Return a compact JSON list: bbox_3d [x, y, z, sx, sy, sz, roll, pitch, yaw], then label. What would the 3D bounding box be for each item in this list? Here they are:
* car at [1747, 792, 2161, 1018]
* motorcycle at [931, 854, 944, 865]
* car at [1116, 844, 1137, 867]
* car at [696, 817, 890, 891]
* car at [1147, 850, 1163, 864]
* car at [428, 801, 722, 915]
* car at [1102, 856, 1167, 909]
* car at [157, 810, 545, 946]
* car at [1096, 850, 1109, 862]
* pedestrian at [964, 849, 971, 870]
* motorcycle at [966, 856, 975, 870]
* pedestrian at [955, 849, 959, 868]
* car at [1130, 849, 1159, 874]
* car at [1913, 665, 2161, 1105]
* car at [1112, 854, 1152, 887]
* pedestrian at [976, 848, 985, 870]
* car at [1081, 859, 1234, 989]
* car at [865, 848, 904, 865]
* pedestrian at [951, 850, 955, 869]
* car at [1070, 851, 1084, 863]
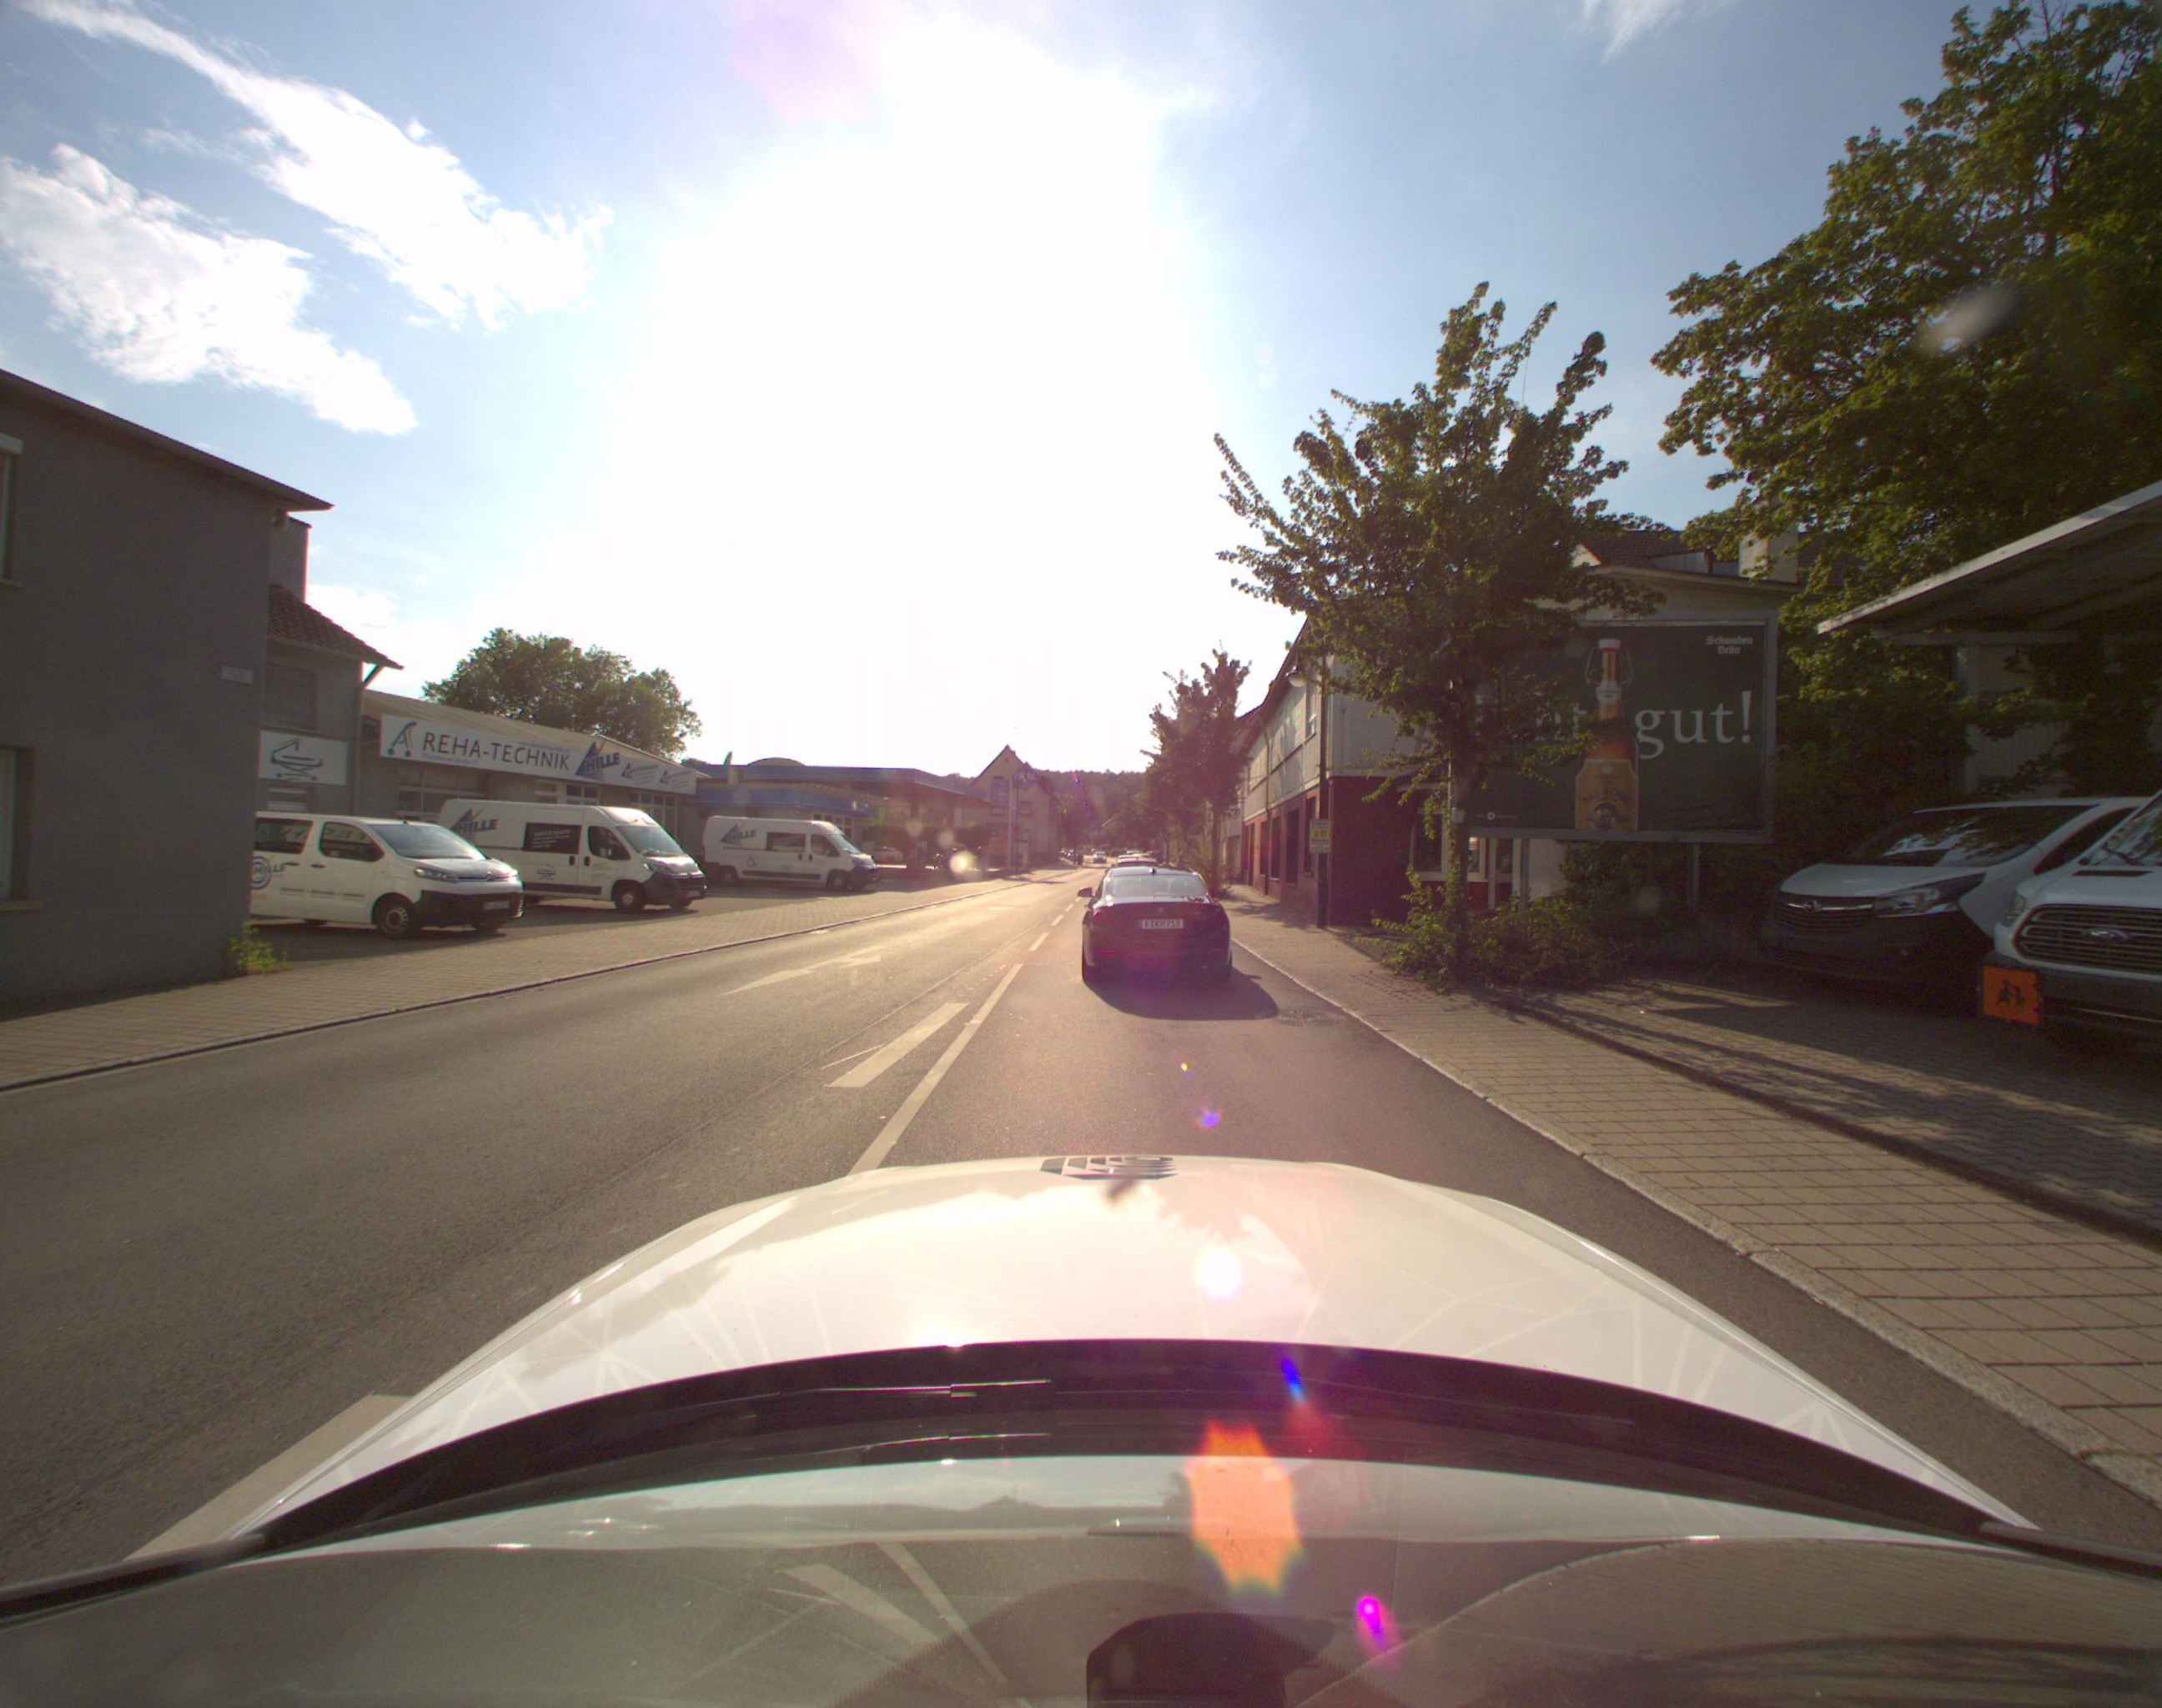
[{"bbox_3d":[8.671,0.425,7.646,3.588,1.894,1.586,0,0,-1],"label":"car"},{"bbox_3d":[-10.627,0.402,60.449,0.456,0.730,1.478,0,0,10],"label":"motorcycle"},{"bbox_3d":[3.656,0.116,65.056,1.595,1.767,3.416,0,0,5],"label":"car"},{"bbox_3d":[-10.272,-0.005,29.370,6.133,2.444,2.251,1,0,3],"label":"car"},{"bbox_3d":[8.574,0.336,94.197,1.591,1.485,3.476,1,1,2],"label":"car"},{"bbox_3d":[-12.062,0.056,19.631,5.888,2.480,2.198,1,1,7],"label":"car"},{"bbox_3d":[1.663,0.784,24.332,1.763,1.456,3.522,0,0,6],"label":"car"},{"bbox_3d":[-12.070,0.357,13.665,4.952,1.999,1.938,1,0,5],"label":"car"},{"bbox_3d":[2.626,0.232,98.559,1.591,1.485,3.476,1,1,2],"label":"car"},{"bbox_3d":[-8.409,0.416,60.367,0.406,1.547,0.433,0,0,0],"label":"pedestrian"},{"bbox_3d":[-8.112,0.666,59.699,0.362,0.943,1.696,0,0,2],"label":"motorcycle"},{"bbox_3d":[-9.156,0.348,60.072,0.263,1.383,0.286,0,0,-21],"label":"pedestrian"},{"bbox_3d":[4.080,0.459,52.836,1.586,1.600,3.893,0,1,0],"label":"car"},{"bbox_3d":[9.201,0.180,5.041,6.023,2.516,2.044,0,0,0],"label":"car"},{"bbox_3d":[2.379,0.739,37.656,1.746,1.414,3.426,0,1,4],"label":"car"},{"bbox_3d":[-7.439,0.359,60.283,0.608,1.670,0.442,0,0,-1],"label":"pedestrian"},{"bbox_3d":[0.919,0.796,11.214,1.693,1.369,4.264,0,1,2],"label":"car"},{"bbox_3d":[-16.499,0.217,68.589,3.155,1.427,1.432,0,0,-14],"label":"car"},{"bbox_3d":[-9.330,0.383,59.365,0.286,1.366,0.263,0,0,-1],"label":"pedestrian"},{"bbox_3d":[-0.511,0.367,107.013,1.591,1.485,3.476,1,1,2],"label":"car"}]
